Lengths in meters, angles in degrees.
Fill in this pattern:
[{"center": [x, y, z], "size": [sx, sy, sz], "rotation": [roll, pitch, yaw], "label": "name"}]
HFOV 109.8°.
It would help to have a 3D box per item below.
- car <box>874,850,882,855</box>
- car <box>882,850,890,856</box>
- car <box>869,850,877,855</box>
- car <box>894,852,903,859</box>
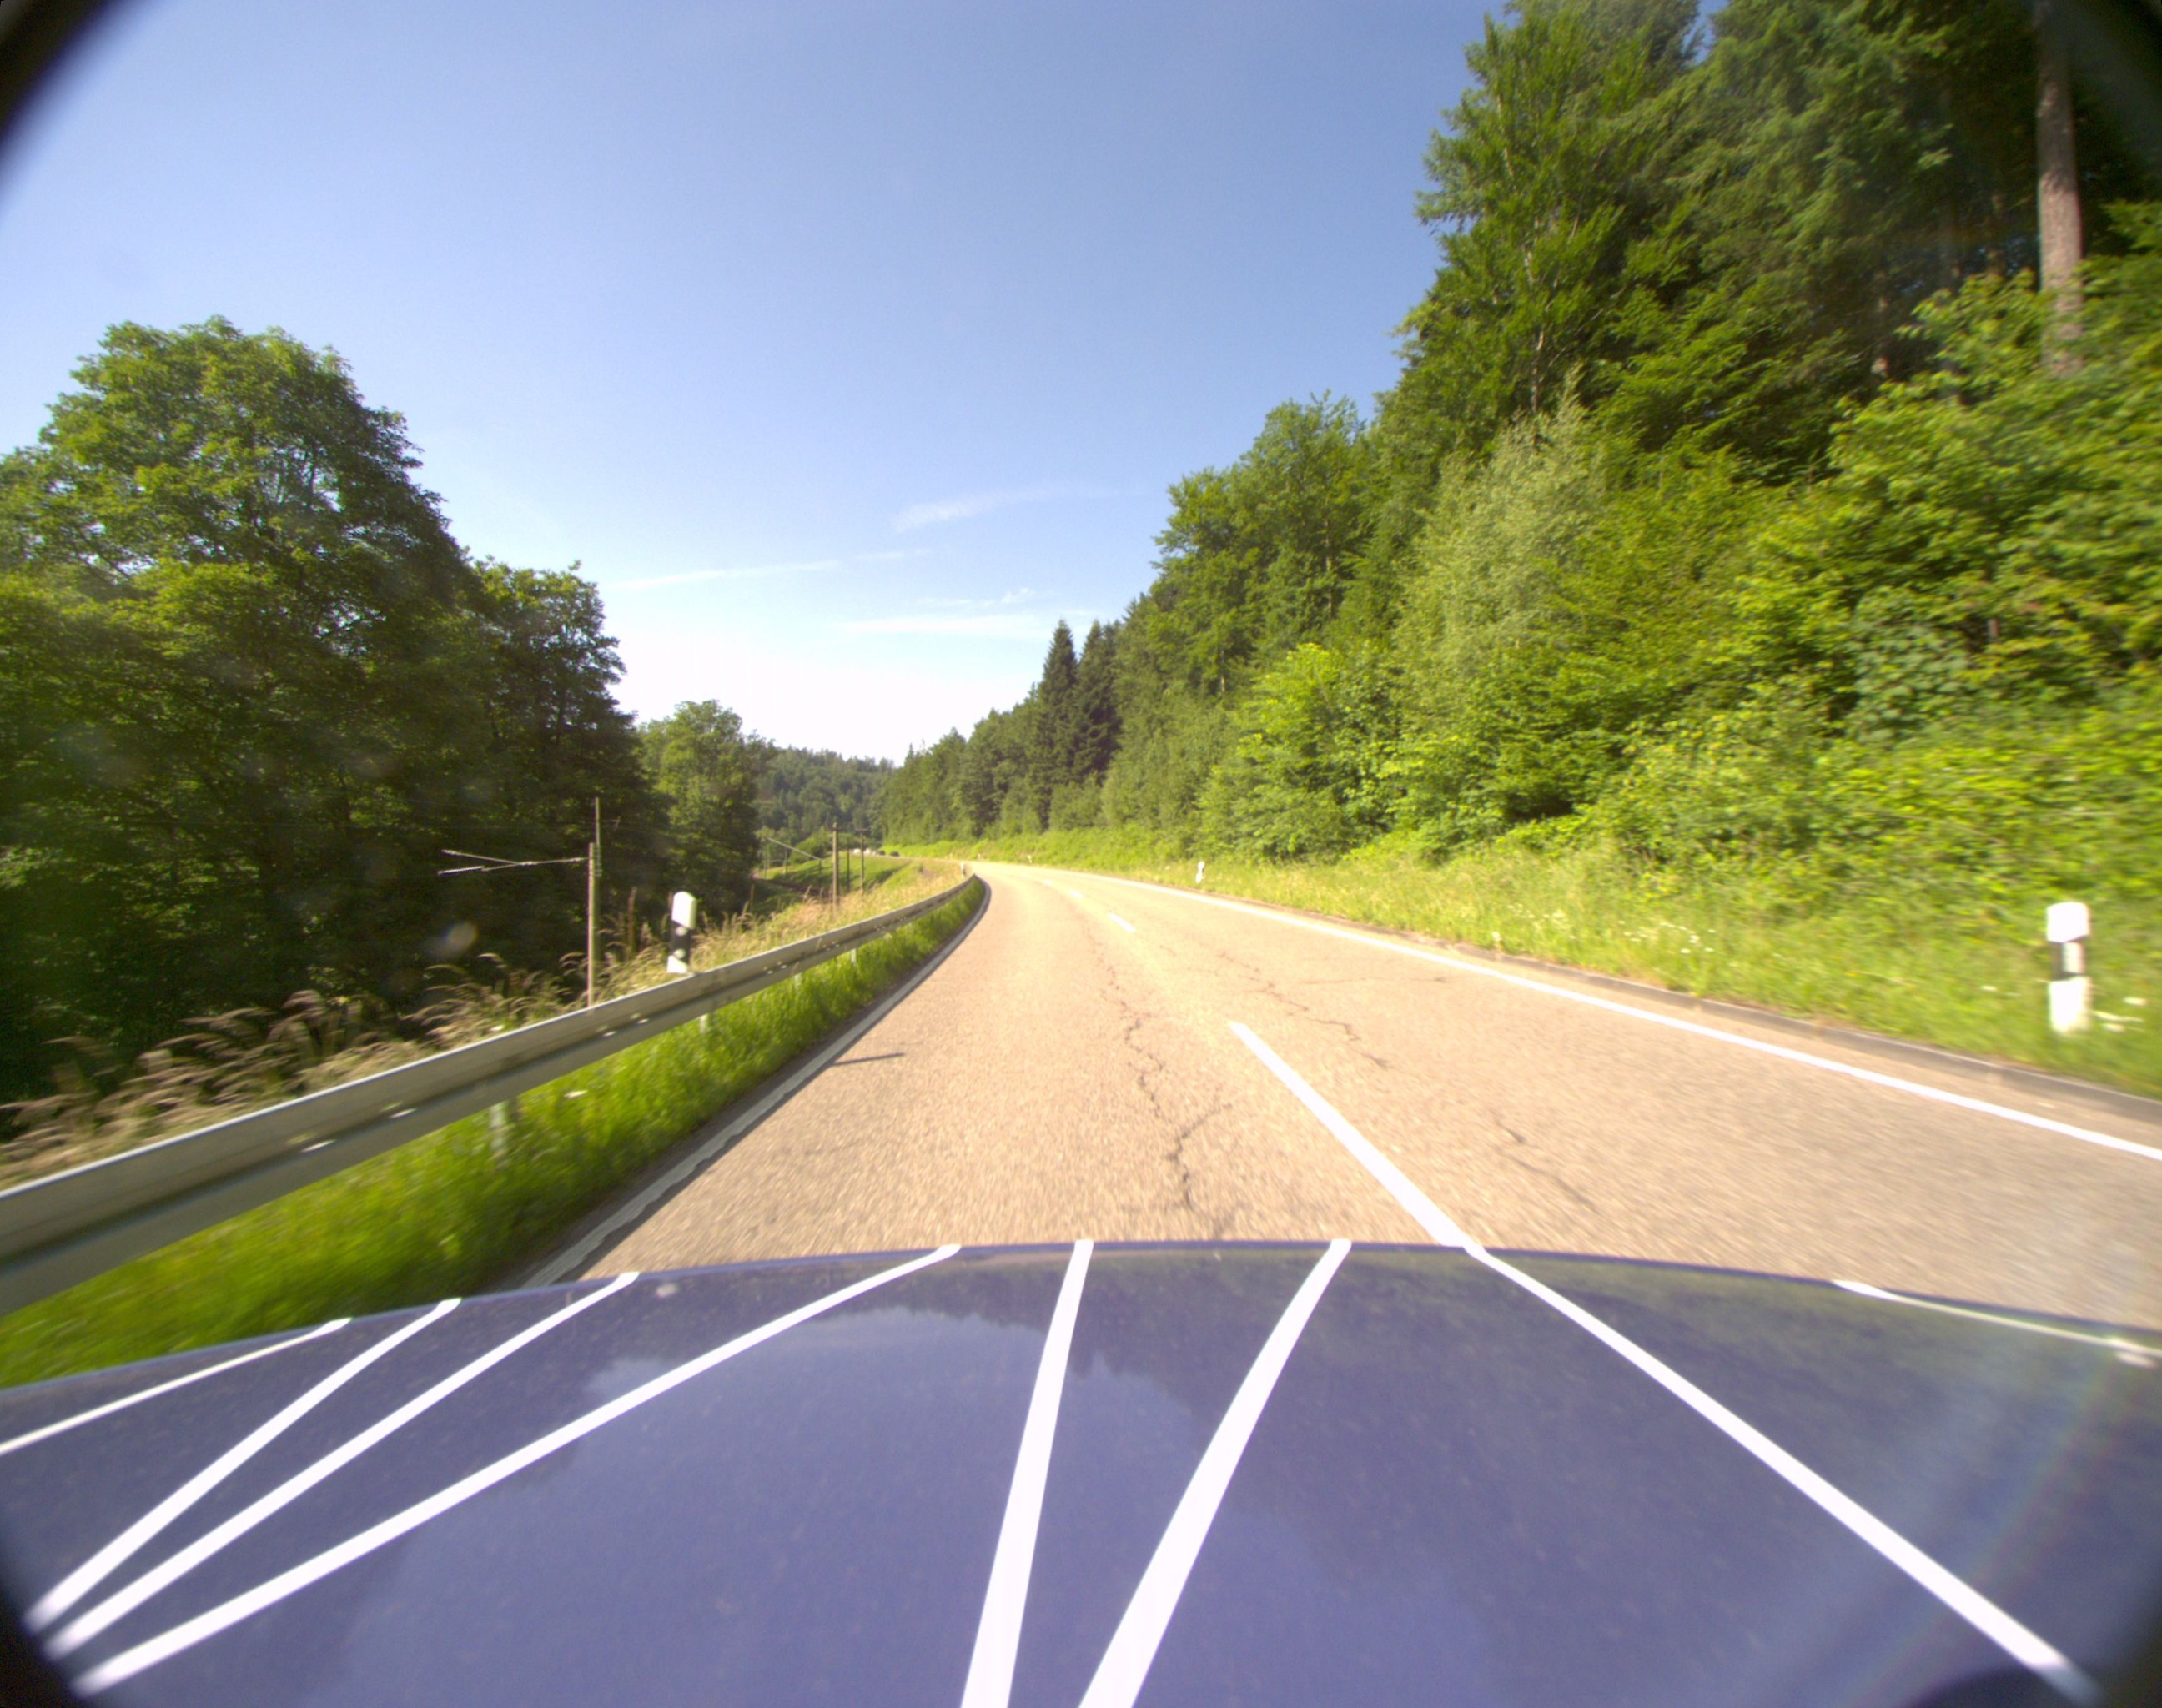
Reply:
[{"center": [-57.274, -0.419, 213.978], "size": [1.841, 1.422, 4.670], "rotation": [0, 0, -20], "label": "car"}, {"center": [-51.396, -0.254, 200.124], "size": [1.840, 1.619, 4.344], "rotation": [-1, 1, -18], "label": "car"}, {"center": [-65.913, -0.514, 240.488], "size": [2.002, 1.673, 4.897], "rotation": [0, 0, -21], "label": "car"}, {"center": [-43.580, 0.289, 181.010], "size": [1.865, 1.520, 3.994], "rotation": [-1, 1, -16], "label": "car"}]
